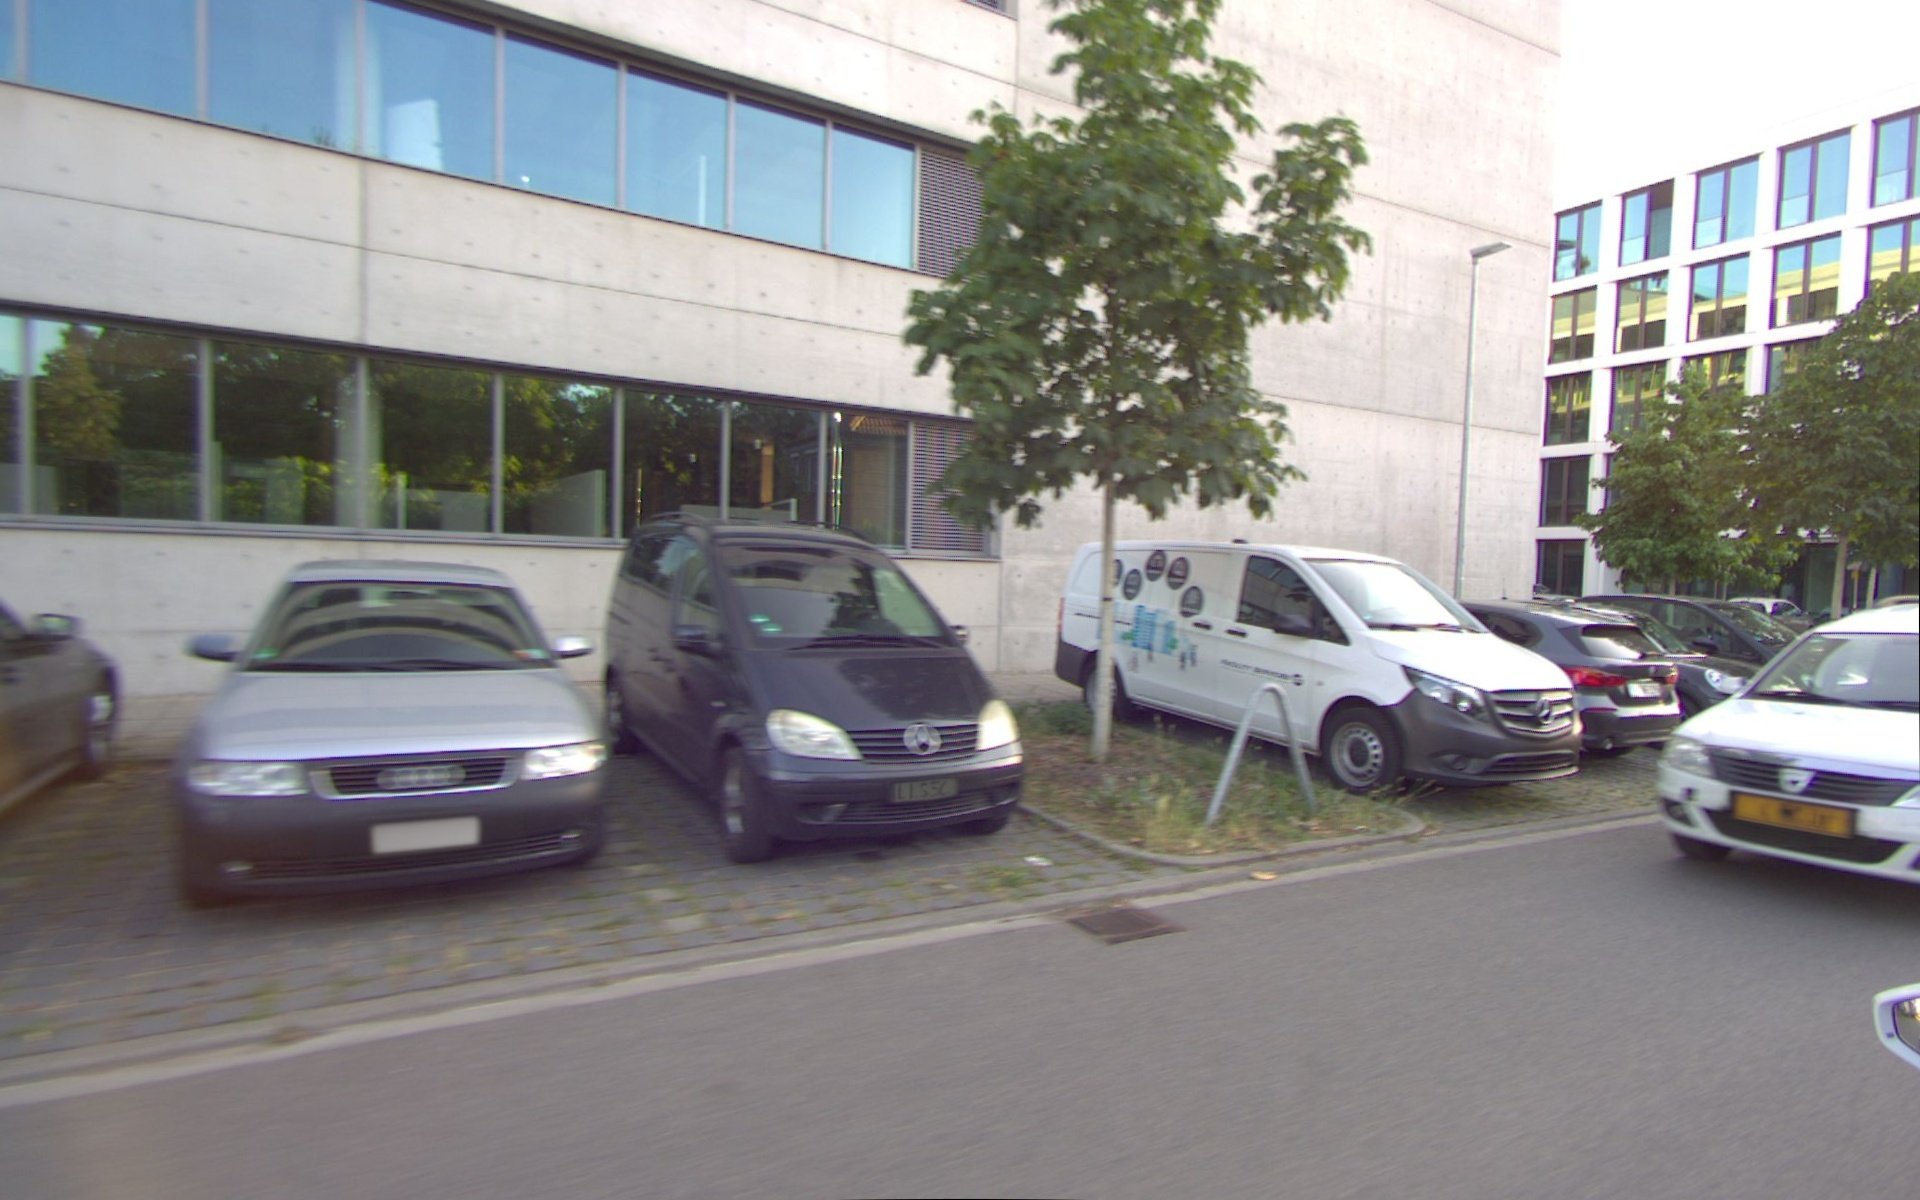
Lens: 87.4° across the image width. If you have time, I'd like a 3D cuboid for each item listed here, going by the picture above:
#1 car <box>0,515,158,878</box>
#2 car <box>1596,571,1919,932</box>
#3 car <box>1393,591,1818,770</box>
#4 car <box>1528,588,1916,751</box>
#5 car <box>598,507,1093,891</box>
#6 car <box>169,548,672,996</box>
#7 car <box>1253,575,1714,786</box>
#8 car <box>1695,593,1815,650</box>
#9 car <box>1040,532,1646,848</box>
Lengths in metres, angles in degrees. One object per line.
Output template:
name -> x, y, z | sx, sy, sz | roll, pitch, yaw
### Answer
car -> -5.113, 0.391, 4.325 | 1.741, 1.519, 4.379 | 2, 4, -27
car -> 6.369, 0.790, 6.331 | 4.664, 1.708, 1.944 | 2, 0, -29
car -> 7.371, 0.788, 11.915 | 1.631, 1.509, 3.868 | 1, 4, -29
car -> 9.728, 0.774, 13.163 | 1.638, 1.598, 3.623 | 1, 4, -24
car -> -1.128, 0.315, 6.847 | 1.705, 1.766, 4.224 | 1, 4, -31
car -> -3.054, 0.531, 5.686 | 1.705, 1.423, 4.121 | 1, 4, -31
car -> 5.180, 0.655, 10.528 | 1.587, 1.543, 3.965 | 1, 4, -31
car -> 24.328, 0.612, 30.736 | 3.509, 1.506, 1.713 | -2, 3, -31
car -> 2.977, 0.468, 9.202 | 1.867, 1.973, 5.050 | 1, 4, -30
